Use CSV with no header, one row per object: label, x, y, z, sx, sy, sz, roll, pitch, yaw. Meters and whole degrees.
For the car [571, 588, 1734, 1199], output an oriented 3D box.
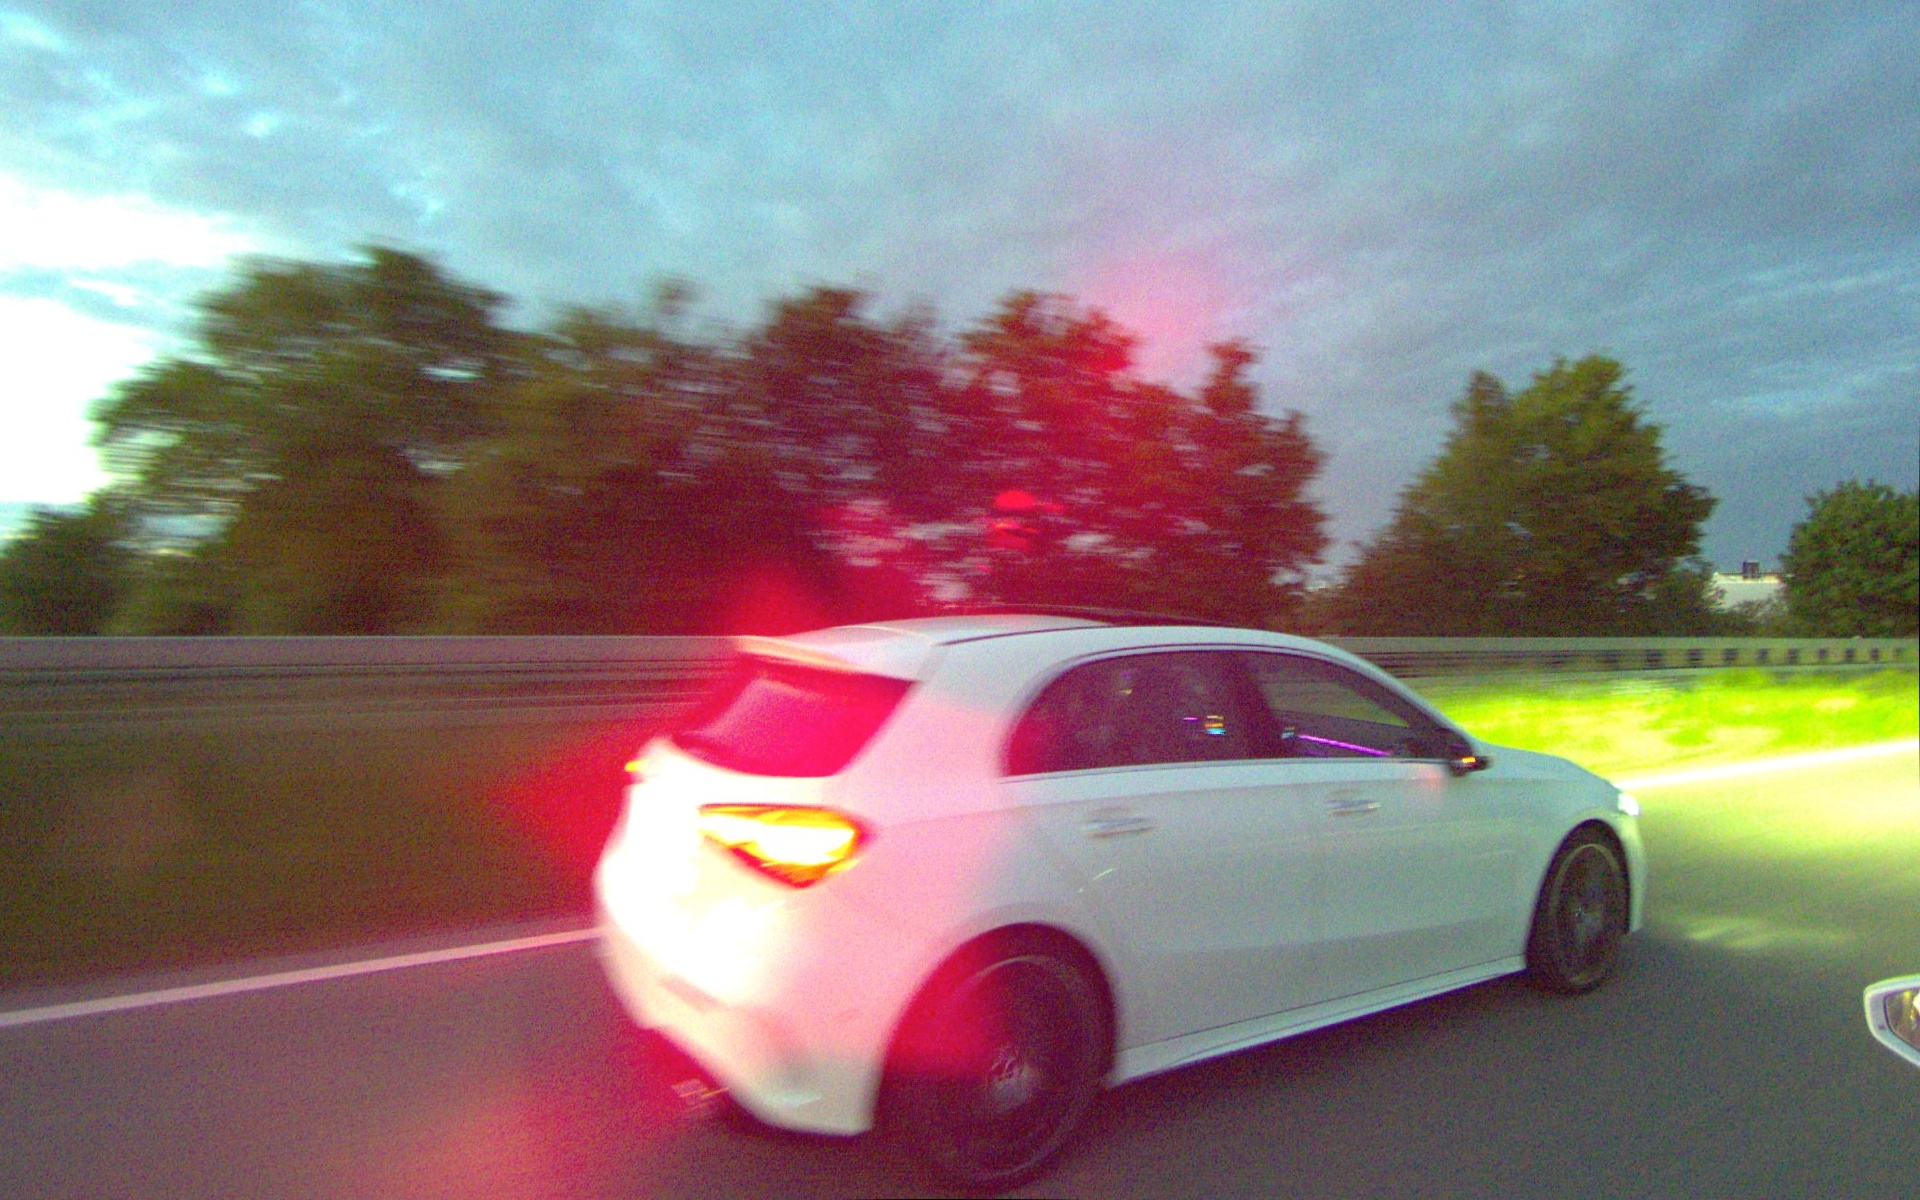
car,1.026,0.782,3.917,4.527,1.510,1.633,2,0,-31
